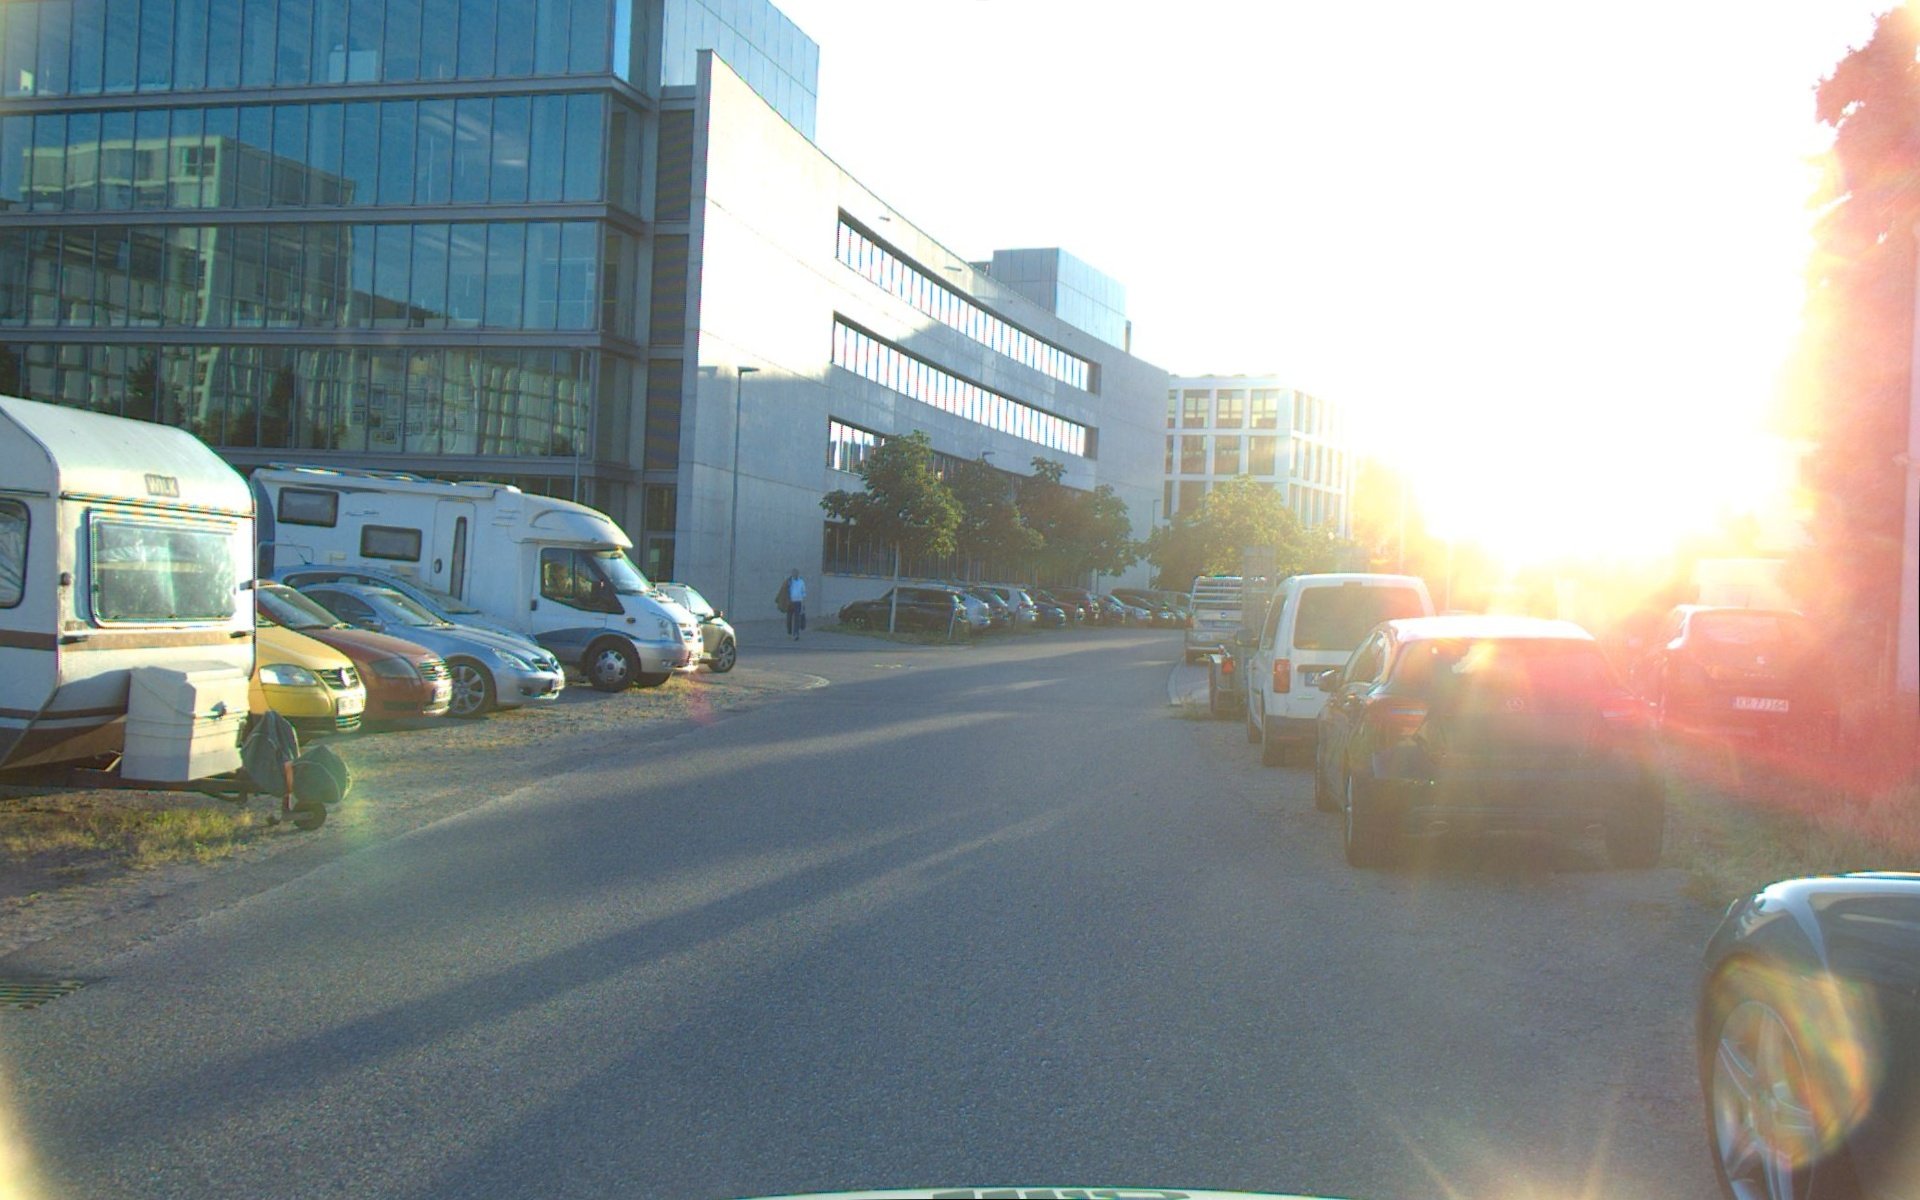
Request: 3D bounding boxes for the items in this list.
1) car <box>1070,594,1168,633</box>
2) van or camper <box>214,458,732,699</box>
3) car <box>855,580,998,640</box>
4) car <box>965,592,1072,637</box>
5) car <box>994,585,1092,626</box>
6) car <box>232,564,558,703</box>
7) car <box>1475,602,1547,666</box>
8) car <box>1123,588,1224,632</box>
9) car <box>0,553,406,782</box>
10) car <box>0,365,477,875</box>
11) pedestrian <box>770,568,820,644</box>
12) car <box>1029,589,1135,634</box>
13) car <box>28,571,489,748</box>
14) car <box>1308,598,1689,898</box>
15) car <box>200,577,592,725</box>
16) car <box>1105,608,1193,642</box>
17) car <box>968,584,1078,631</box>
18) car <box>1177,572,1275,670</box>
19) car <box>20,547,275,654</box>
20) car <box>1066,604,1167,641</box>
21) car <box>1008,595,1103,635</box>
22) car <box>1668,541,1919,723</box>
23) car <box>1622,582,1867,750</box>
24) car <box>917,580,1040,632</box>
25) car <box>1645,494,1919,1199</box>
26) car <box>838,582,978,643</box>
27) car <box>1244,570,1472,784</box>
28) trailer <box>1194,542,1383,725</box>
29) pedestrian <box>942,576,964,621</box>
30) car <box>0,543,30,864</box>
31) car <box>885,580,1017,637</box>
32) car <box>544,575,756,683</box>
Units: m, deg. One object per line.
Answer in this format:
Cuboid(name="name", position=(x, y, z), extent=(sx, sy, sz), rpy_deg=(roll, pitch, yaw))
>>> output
Cuboid(name="car", position=(7.723, 0.653, 80.519), extent=(4.312, 1.525, 1.761), rpy_deg=(5, 0, 26))
Cuboid(name="van or camper", position=(-6.884, -0.312, 23.865), extent=(6.599, 2.948, 2.410), rpy_deg=(3, 0, 5))
Cuboid(name="car", position=(-0.995, 0.299, 50.543), extent=(3.999, 1.555, 1.848), rpy_deg=(4, 1, 9))
Cuboid(name="car", position=(2.115, 0.514, 59.488), extent=(3.556, 1.385, 1.687), rpy_deg=(3, 1, 11))
Cuboid(name="car", position=(3.413, 0.242, 67.773), extent=(3.624, 1.483, 1.712), rpy_deg=(3, 0, 17))
Cuboid(name="car", position=(-7.199, 0.413, 21.330), extent=(3.531, 1.502, 1.693), rpy_deg=(4, 0, -1))
Cuboid(name="car", position=(13.673, 0.799, 41.167), extent=(1.496, 1.469, 3.642), rpy_deg=(2, 0, 16))
Cuboid(name="car", position=(11.554, 0.541, 89.643), extent=(4.975, 1.980, 1.888), rpy_deg=(5, 0, 23))
Cuboid(name="car", position=(-6.585, 0.481, 13.350), extent=(3.554, 1.545, 1.706), rpy_deg=(4, 0, 0))
Cuboid(name="car", position=(-6.298, -0.058, 10.121), extent=(5.765, 2.577, 2.413), rpy_deg=(4, 0, 5))
Cuboid(name="pedestrian", position=(-4.196, 0.150, 42.060), extent=(0.895, 1.882, 0.843), rpy_deg=(1, 1, -43))
Cuboid(name="car", position=(5.337, 0.486, 72.327), extent=(4.219, 1.726, 1.897), rpy_deg=(3, 0, 18))
Cuboid(name="car", position=(-6.679, 0.537, 16.026), extent=(3.650, 1.391, 1.706), rpy_deg=(4, 0, 0))
Cuboid(name="car", position=(3.317, 0.783, 10.938), extent=(1.668, 1.545, 4.091), rpy_deg=(2, 0, 8))
Cuboid(name="car", position=(-6.237, 0.539, 18.566), extent=(3.729, 1.351, 1.693), rpy_deg=(4, 0, 2))
Cuboid(name="car", position=(9.652, 1.277, 84.447), extent=(4.061, 1.428, 1.724), rpy_deg=(5, 0, 22))
Cuboid(name="car", position=(2.414, 0.261, 62.693), extent=(3.789, 1.537, 1.761), rpy_deg=(4, 1, 16))
Cuboid(name="car", position=(6.418, 0.448, 39.466), extent=(2.021, 2.131, 4.876), rpy_deg=(2, 0, 12))
Cuboid(name="car", position=(-13.084, 0.005, 26.717), extent=(3.365, 1.472, 1.516), rpy_deg=(4, 0, 9))
Cuboid(name="car", position=(7.371, 1.037, 77.872), extent=(4.343, 1.489, 1.763), rpy_deg=(3, 1, 22))
Cuboid(name="car", position=(4.048, 0.649, 70.013), extent=(3.625, 1.483, 1.680), rpy_deg=(3, 0, 18))
Cuboid(name="car", position=(14.746, 0.510, 27.139), extent=(5.447, 2.739, 2.054), rpy_deg=(3, 2, 18))
Cuboid(name="car", position=(8.255, 0.690, 17.727), extent=(1.601, 1.546, 3.905), rpy_deg=(2, -2, 14))
Cuboid(name="car", position=(0.671, 0.196, 57.632), extent=(3.903, 1.537, 1.761), rpy_deg=(4, 1, 15))
Cuboid(name="car", position=(2.756, 0.680, 2.138), extent=(1.769, 1.755, 4.929), rpy_deg=(0, 0, 1))
Cuboid(name="car", position=(-1.479, 0.336, 47.615), extent=(3.655, 1.507, 1.771), rpy_deg=(4, 1, 10))
Cuboid(name="car", position=(3.935, 0.691, 17.002), extent=(1.733, 1.863, 4.411), rpy_deg=(2, 0, 7))
Cuboid(name="trailer", position=(4.528, 0.402, 23.566), extent=(2.020, 2.250, 5.226), rpy_deg=(2, 0, 5))
Cuboid(name="pedestrian", position=(-0.270, -0.071, 68.211), extent=(0.632, 1.815, 0.725), rpy_deg=(3, 0, 16))
Cuboid(name="car", position=(-6.842, 0.364, 7.608), extent=(4.041, 1.618, 1.748), rpy_deg=(4, -1, 2))
Cuboid(name="car", position=(-0.277, 0.254, 52.746), extent=(3.913, 1.538, 1.586), rpy_deg=(4, 2, 9))
Cuboid(name="car", position=(-5.028, 0.475, 27.480), extent=(1.651, 1.545, 4.364), rpy_deg=(4, 0, 15))
